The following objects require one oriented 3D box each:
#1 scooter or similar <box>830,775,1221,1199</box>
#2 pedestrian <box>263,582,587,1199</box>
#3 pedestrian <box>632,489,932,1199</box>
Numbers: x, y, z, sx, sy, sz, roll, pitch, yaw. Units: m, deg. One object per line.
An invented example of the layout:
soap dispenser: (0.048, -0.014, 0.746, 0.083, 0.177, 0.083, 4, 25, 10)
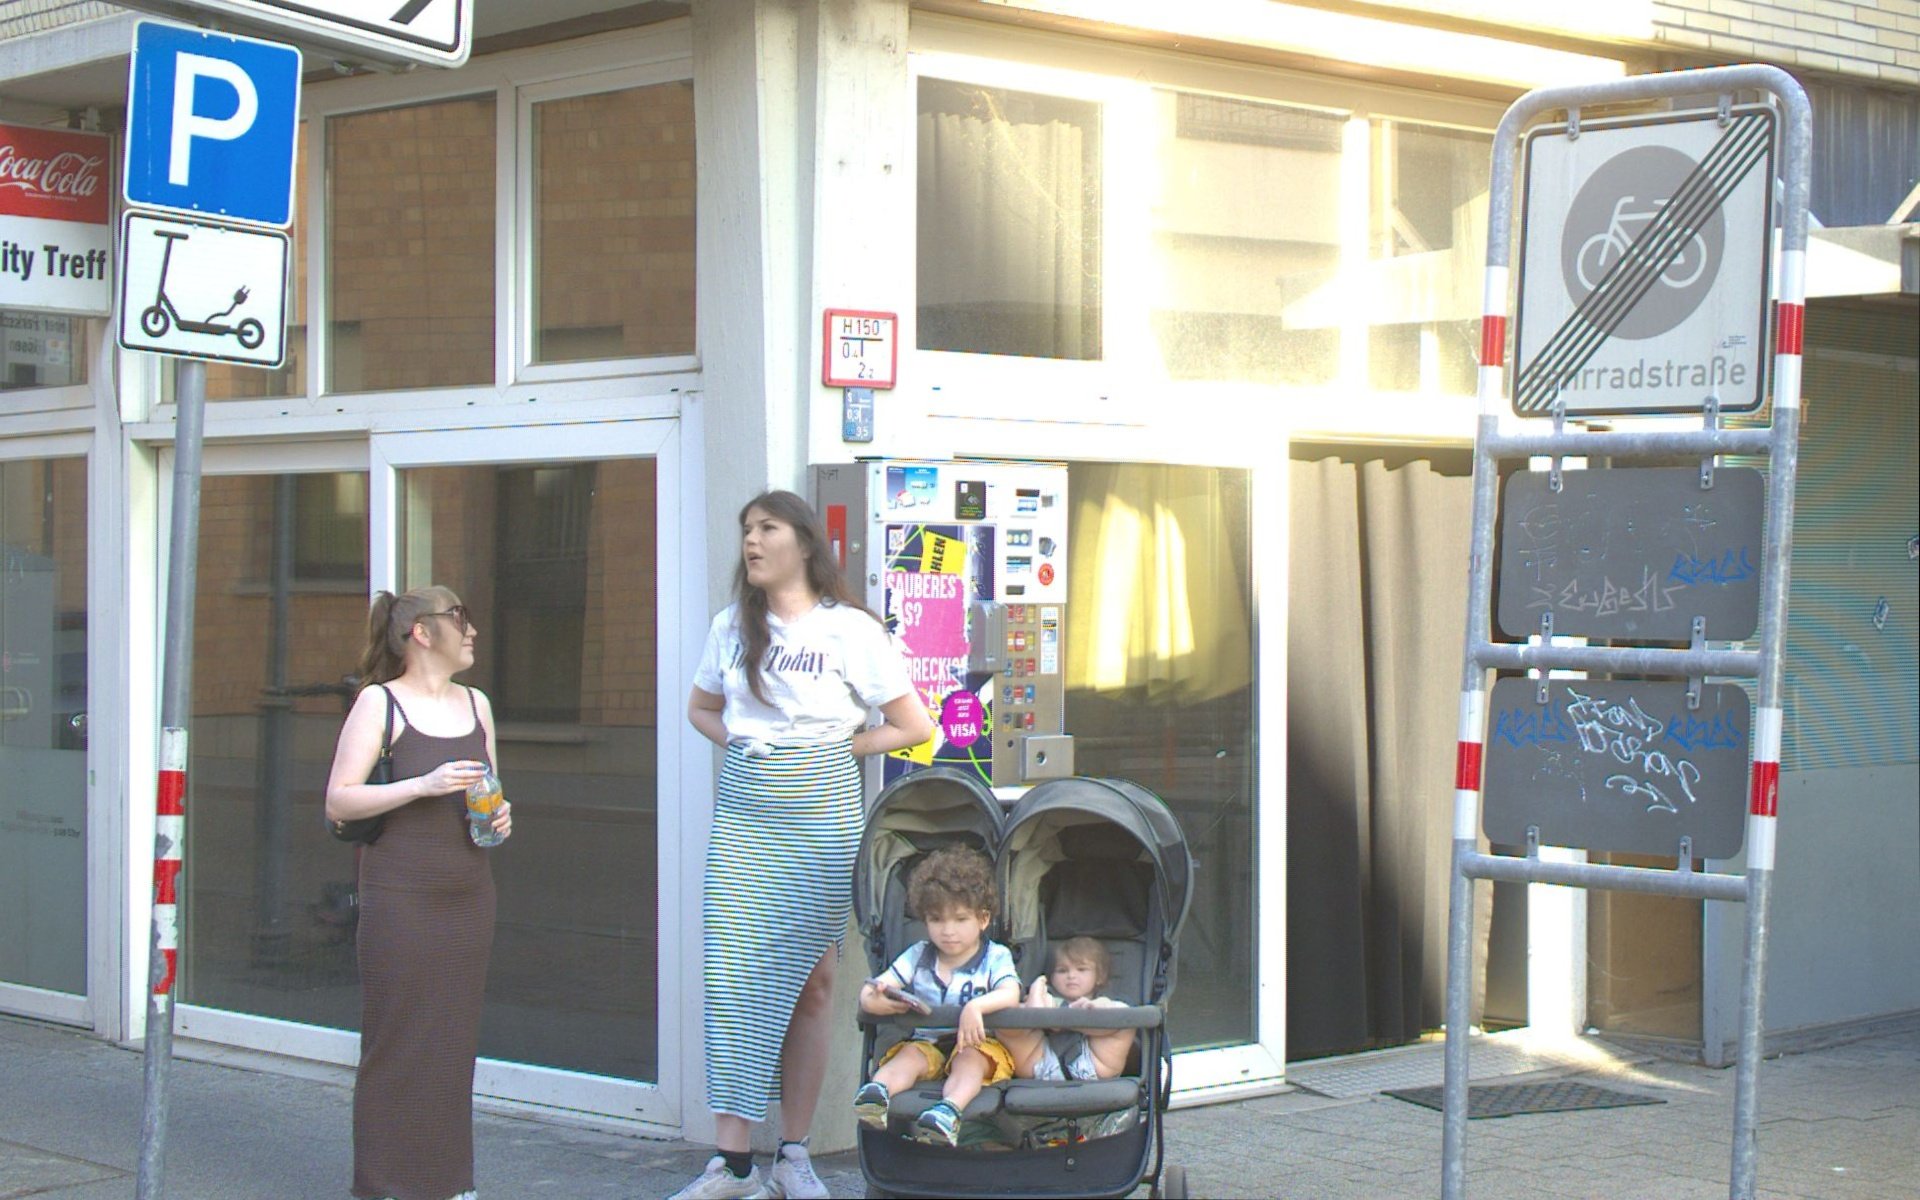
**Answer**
scooter or similar: (0.134, 0.992, 7.546, 0.796, 1.140, 0.954, 0, 1, 0)
pedestrian: (-1.254, 0.755, 8.062, 0.532, 1.574, 0.511, -3, 2, -36)
pedestrian: (-0.421, 0.647, 8.384, 0.658, 1.813, 0.571, -2, 1, -1)
